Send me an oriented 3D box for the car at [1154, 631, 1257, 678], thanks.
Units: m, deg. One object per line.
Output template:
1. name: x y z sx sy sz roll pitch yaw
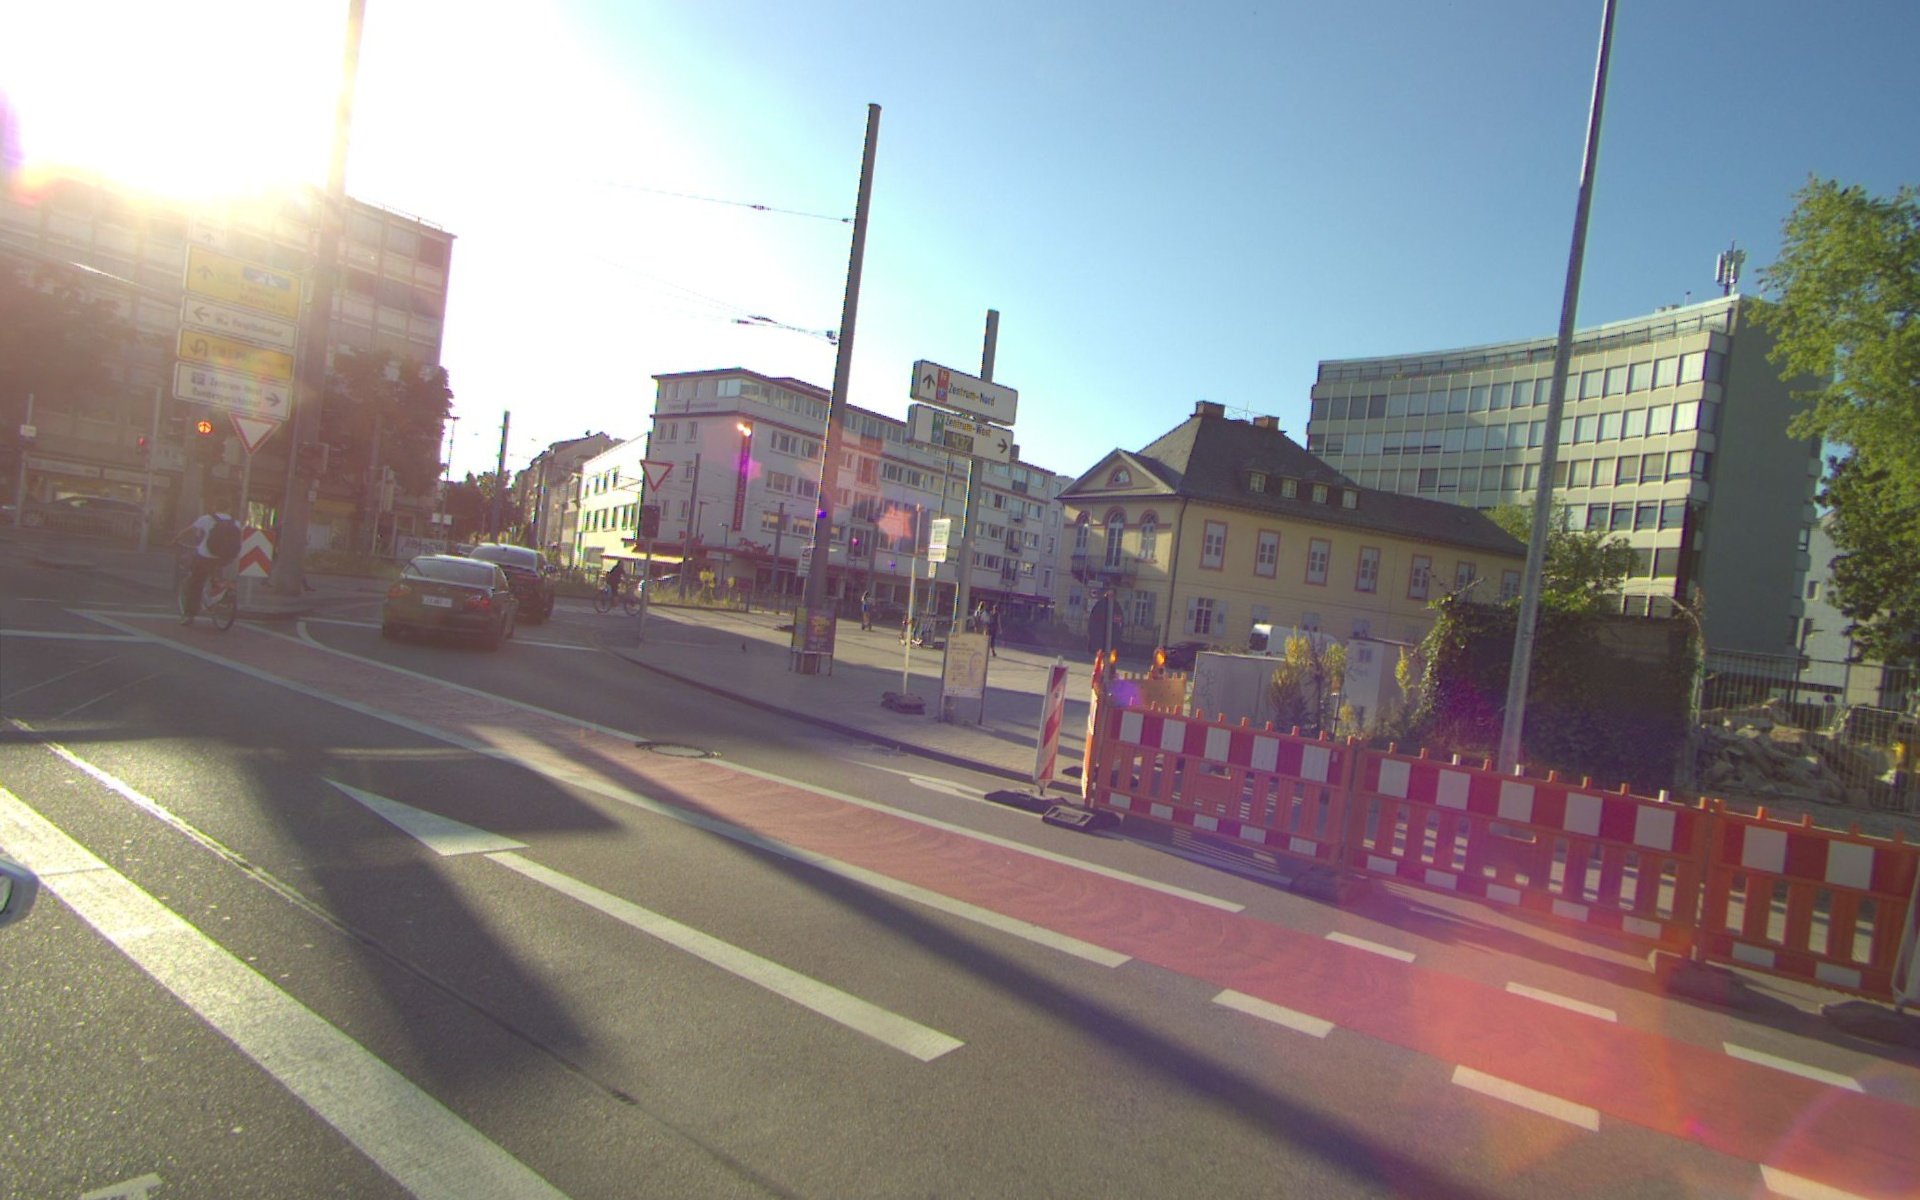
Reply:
1. car: 11.365 2.497 46.632 4.099 1.593 1.993 7 0 -16

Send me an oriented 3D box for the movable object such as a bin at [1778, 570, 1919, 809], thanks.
1. movable object such as a bin: 17.170 1.699 17.156 6.017 3.602 2.838 7 0 -31

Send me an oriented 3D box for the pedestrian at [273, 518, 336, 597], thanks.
1. pedestrian: -14.617 -0.935 22.438 0.644 1.617 0.879 7 1 32

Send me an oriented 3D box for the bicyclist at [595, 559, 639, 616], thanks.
1. bicyclist: -11.028 -0.400 32.329 0.680 1.682 0.958 7 0 37

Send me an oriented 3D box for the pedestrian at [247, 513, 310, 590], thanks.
1. pedestrian: -15.338 -1.084 22.658 0.644 1.617 0.879 7 1 32

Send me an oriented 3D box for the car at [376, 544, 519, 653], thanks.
1. car: -8.546 -0.074 17.065 1.726 1.444 3.978 7 -1 -23

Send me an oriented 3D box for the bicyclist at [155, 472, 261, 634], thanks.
1. bicyclist: -10.293 -0.643 13.763 1.050 2.037 0.644 9 0 35

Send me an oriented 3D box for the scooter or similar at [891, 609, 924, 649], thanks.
1. scooter or similar: -1.883 1.026 35.733 0.563 1.274 1.335 6 0 -26

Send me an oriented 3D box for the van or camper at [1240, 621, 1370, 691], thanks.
1. van or camper: 16.595 2.694 48.438 5.521 2.668 1.993 7 0 -16

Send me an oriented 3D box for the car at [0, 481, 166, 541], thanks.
1. car: -33.270 -3.336 37.970 1.974 1.497 4.908 7 0 44

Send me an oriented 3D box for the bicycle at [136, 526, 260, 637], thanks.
1. bicycle: -10.528 -0.271 13.875 2.015 1.238 0.645 9 0 35

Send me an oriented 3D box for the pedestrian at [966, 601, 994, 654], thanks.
1. pedestrian: 0.729 1.023 37.234 0.587 1.847 0.727 7 1 24

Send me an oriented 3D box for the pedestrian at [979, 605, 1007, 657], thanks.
1. pedestrian: 1.224 1.135 36.740 0.587 1.847 0.727 7 1 24

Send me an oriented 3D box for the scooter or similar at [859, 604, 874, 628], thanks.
1. scooter or similar: -4.221 0.718 45.589 0.485 1.046 1.386 7 0 -1

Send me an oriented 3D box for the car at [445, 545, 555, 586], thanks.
1. car: -24.457 -1.804 53.656 1.970 1.497 4.917 7 0 38

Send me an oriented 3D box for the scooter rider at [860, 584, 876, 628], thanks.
1. scooter rider: -4.175 0.278 45.630 0.492 1.944 0.533 7 1 -2

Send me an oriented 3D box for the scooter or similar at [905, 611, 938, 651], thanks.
1. scooter or similar: -1.378 1.103 36.034 0.563 1.274 1.335 6 0 -26

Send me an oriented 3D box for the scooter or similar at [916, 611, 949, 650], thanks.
1. scooter or similar: -1.003 1.098 36.657 0.563 1.274 1.335 6 0 -26

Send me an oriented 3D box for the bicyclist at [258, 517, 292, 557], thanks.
1. bicyclist: -33.546 -3.083 49.280 0.666 1.760 1.041 7 1 30

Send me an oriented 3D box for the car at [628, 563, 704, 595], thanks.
1. car: -18.037 -1.293 61.798 1.969 1.437 3.987 7 0 37

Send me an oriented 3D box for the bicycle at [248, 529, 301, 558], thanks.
1. bicycle: -33.573 -2.763 49.297 0.666 1.112 1.976 7 0 30

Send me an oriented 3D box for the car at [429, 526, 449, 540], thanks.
1. car: -64.072 -8.232 123.624 1.977 1.415 3.970 7 0 -29

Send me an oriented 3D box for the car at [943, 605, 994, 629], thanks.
1. car: 0.769 1.495 87.224 1.972 1.597 4.304 7 0 41

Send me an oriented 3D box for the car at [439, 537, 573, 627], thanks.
1. car: -10.824 -0.429 24.312 1.969 1.713 3.990 9 -1 -12

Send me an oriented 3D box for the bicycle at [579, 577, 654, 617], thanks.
1. bicycle: -11.027 -0.073 32.382 0.672 1.039 2.226 7 0 37
